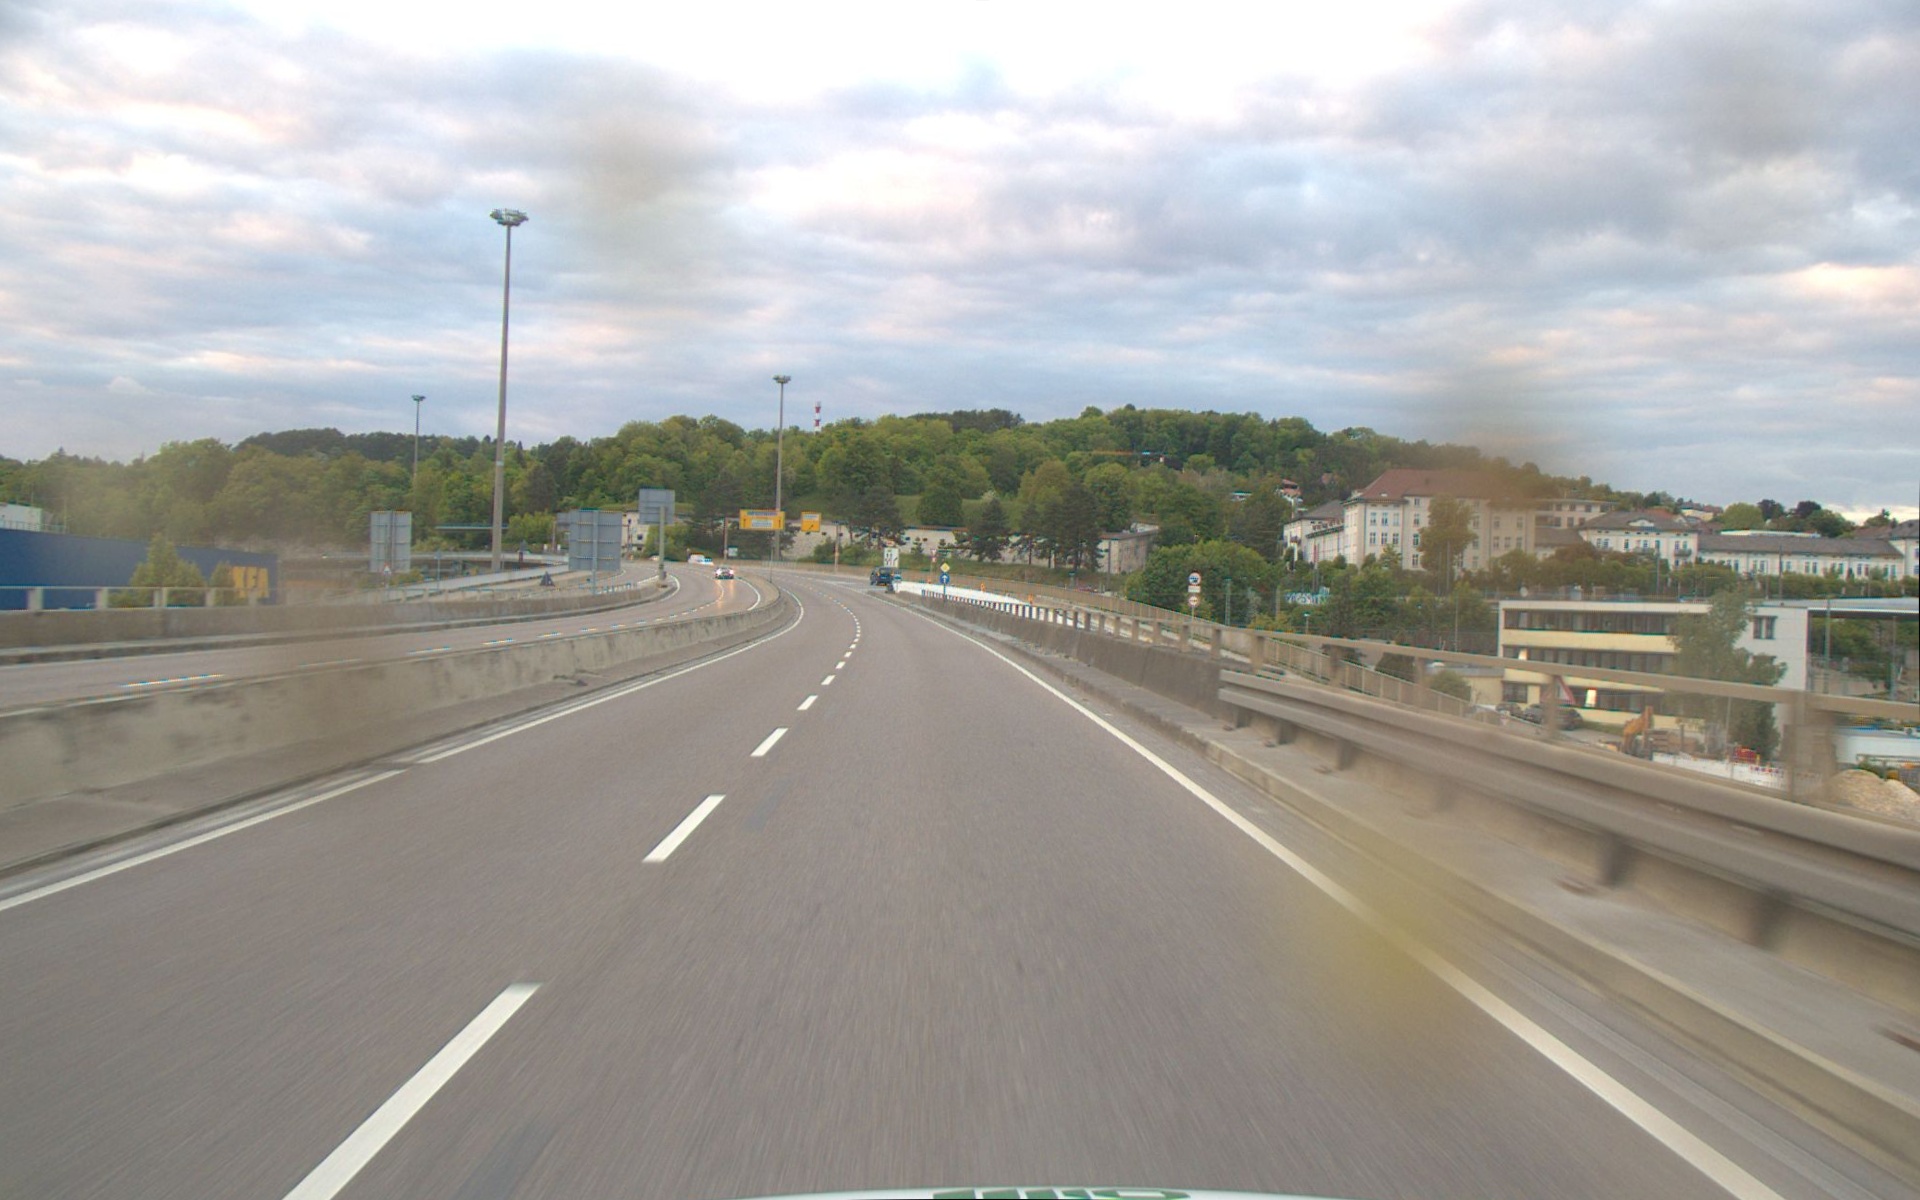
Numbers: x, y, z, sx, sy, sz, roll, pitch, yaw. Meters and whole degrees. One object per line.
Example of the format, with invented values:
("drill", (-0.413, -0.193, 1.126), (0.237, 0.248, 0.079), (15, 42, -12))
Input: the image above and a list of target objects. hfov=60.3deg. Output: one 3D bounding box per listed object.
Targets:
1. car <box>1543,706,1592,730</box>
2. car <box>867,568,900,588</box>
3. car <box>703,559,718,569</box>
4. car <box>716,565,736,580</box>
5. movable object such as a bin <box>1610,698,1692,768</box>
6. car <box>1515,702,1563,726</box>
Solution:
("car", (49.732, 9.662, 135.383), (3.956, 1.592, 1.810), (5, 2, -37))
("car", (-7.796, -2.255, 168.627), (2.269, 1.794, 4.242), (2, 1, -18))
("car", (-36.781, -5.360, 243.846), (1.605, 1.412, 3.982), (0, 2, -17))
("car", (-25.123, -2.925, 177.337), (1.797, 1.506, 4.273), (1, 0, -13))
("movable object such as a bin", (50.662, 9.722, 121.382), (2.730, 4.382, 4.939), (7, 0, -14))
("car", (48.948, 9.646, 139.905), (3.956, 1.592, 1.810), (5, 2, -37))
